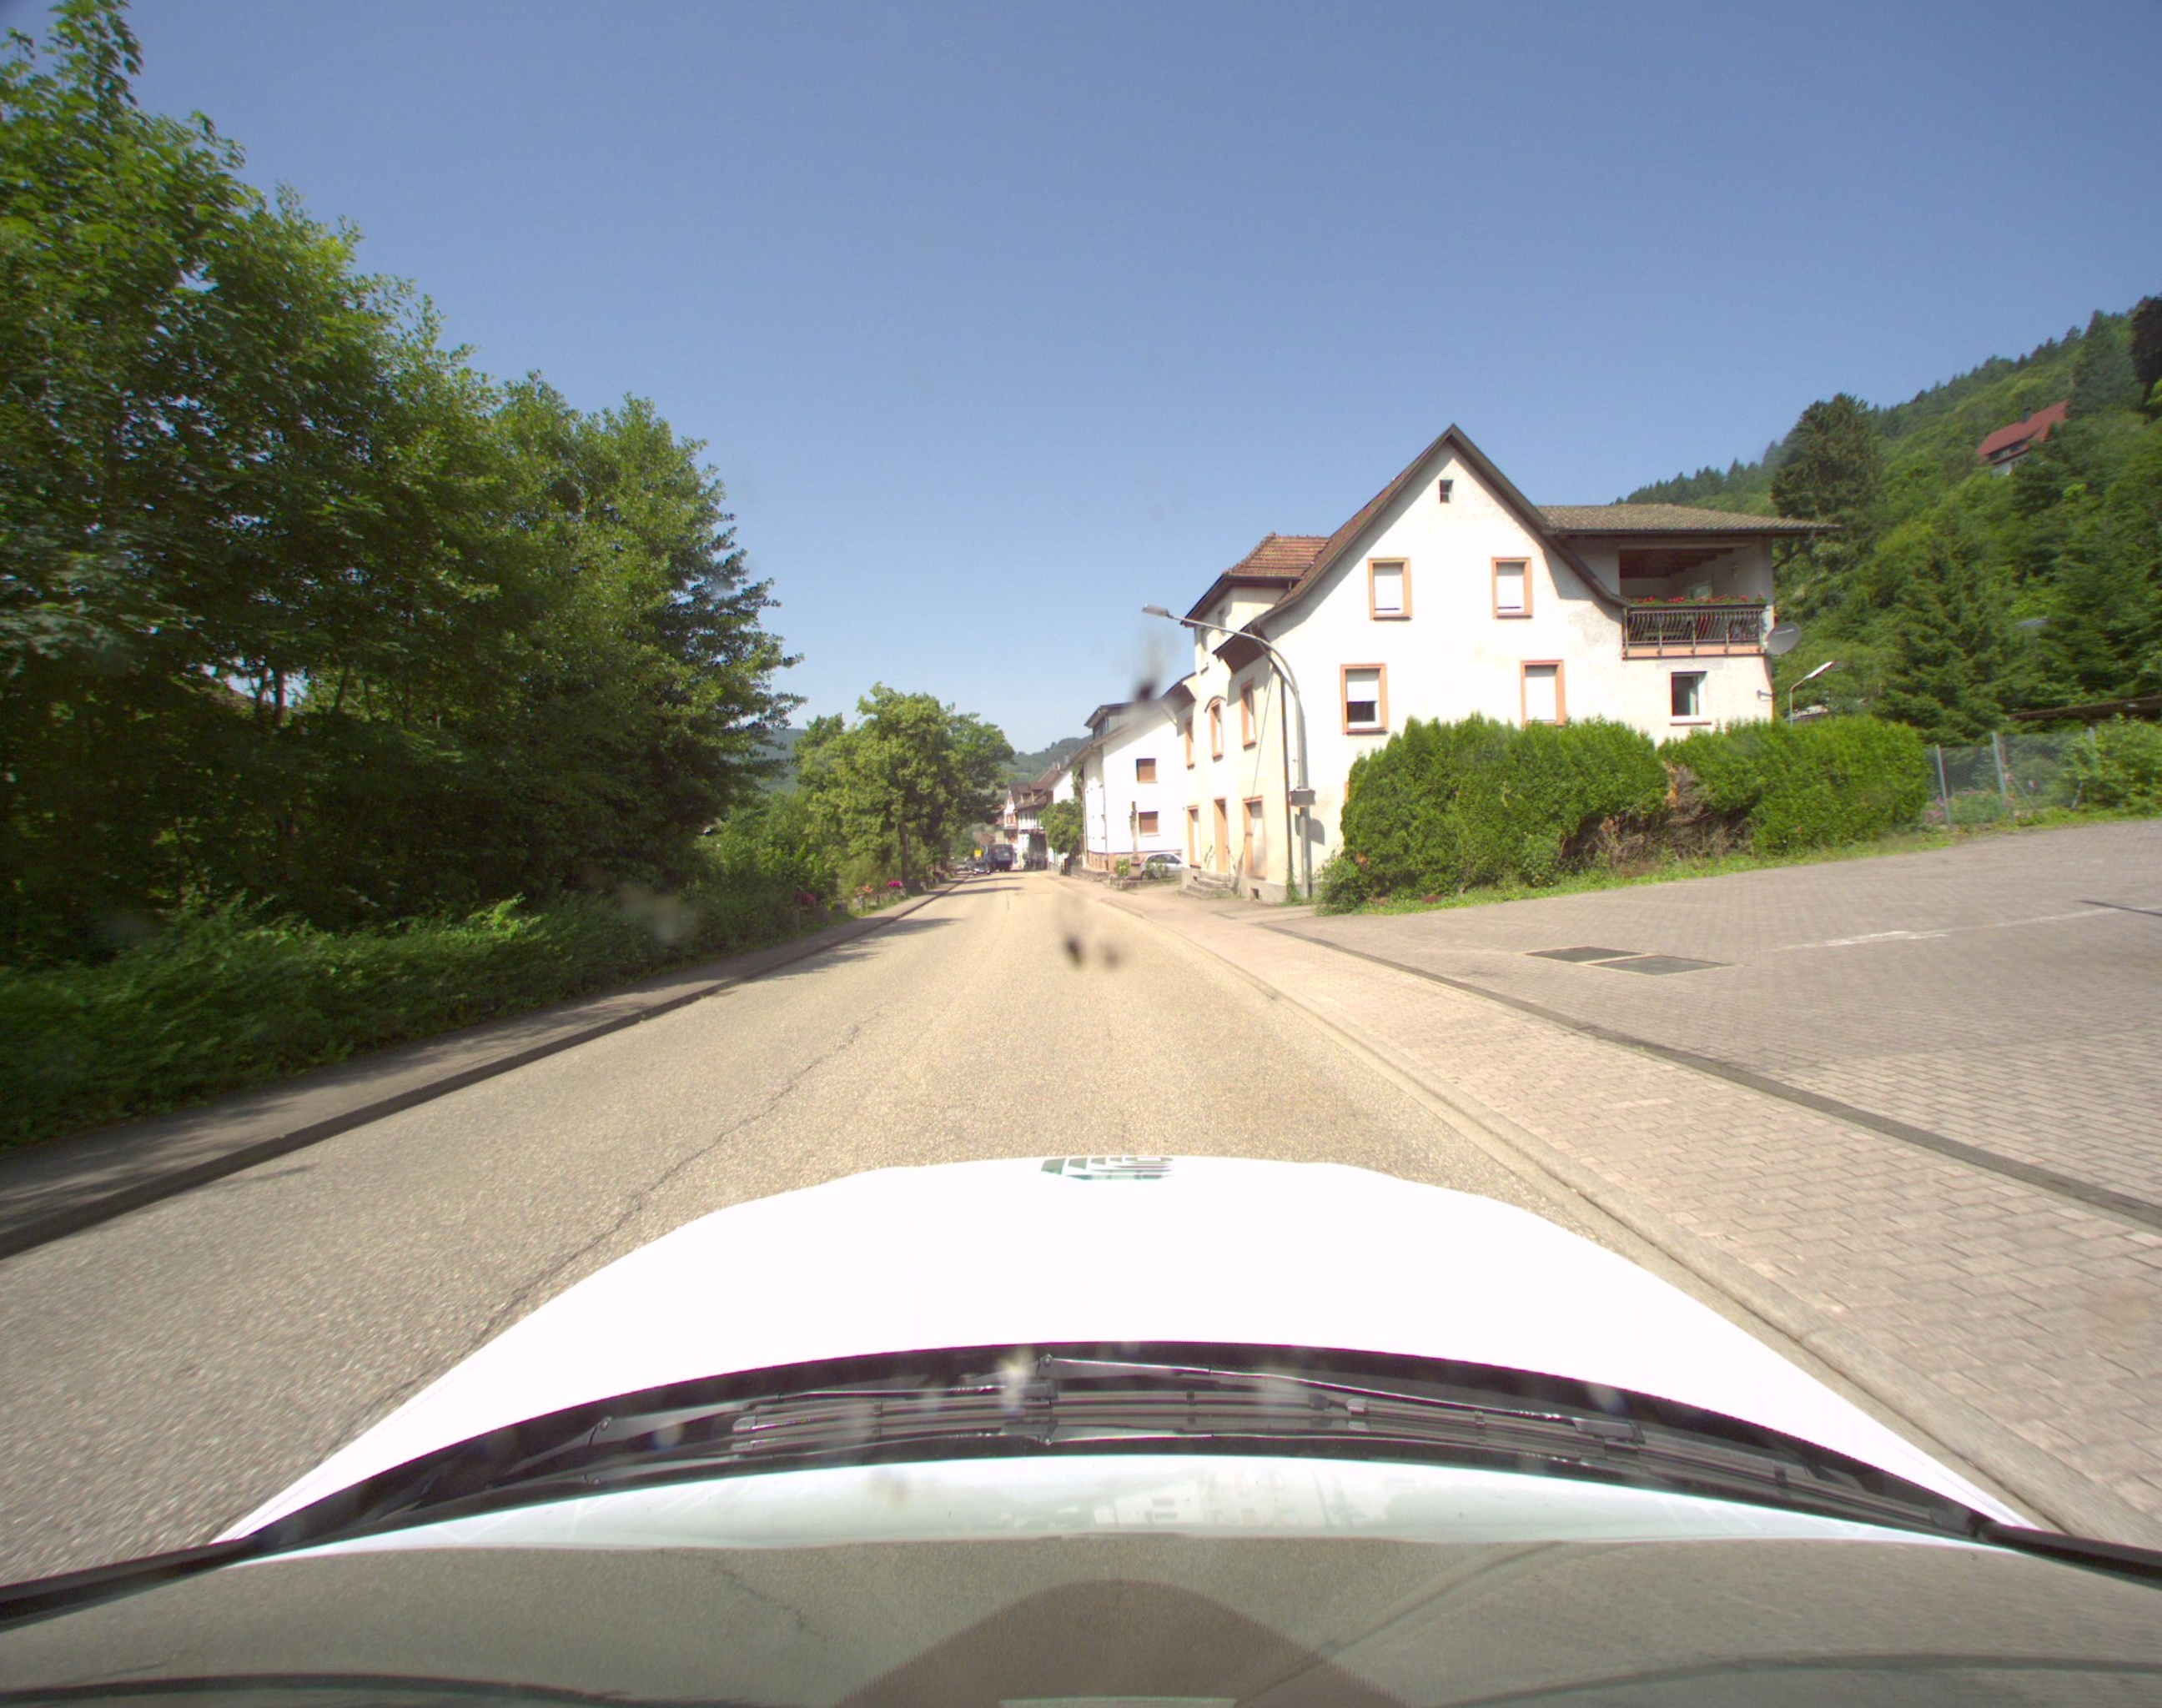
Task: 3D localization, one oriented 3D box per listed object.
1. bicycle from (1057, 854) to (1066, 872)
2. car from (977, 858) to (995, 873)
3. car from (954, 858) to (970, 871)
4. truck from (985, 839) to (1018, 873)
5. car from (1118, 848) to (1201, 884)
[{"bbox_3d":[-1.608,0.723,65.643,0.425,1.396,2.273,-6,1,-5],"label":"bicycle"},{"bbox_3d":[-9.975,1.183,85.550,1.664,1.418,4.079,-4,0,-5],"label":"car"},{"bbox_3d":[-19.276,1.723,131.766,1.778,1.734,3.977,-6,-1,-16],"label":"car"},{"bbox_3d":[-10.325,0.333,104.497,3.363,3.781,8.412,-6,-1,-9],"label":"truck"},{"bbox_3d":[3.852,0.615,40.441,3.727,1.427,1.620,-5,0,39],"label":"car"}]
